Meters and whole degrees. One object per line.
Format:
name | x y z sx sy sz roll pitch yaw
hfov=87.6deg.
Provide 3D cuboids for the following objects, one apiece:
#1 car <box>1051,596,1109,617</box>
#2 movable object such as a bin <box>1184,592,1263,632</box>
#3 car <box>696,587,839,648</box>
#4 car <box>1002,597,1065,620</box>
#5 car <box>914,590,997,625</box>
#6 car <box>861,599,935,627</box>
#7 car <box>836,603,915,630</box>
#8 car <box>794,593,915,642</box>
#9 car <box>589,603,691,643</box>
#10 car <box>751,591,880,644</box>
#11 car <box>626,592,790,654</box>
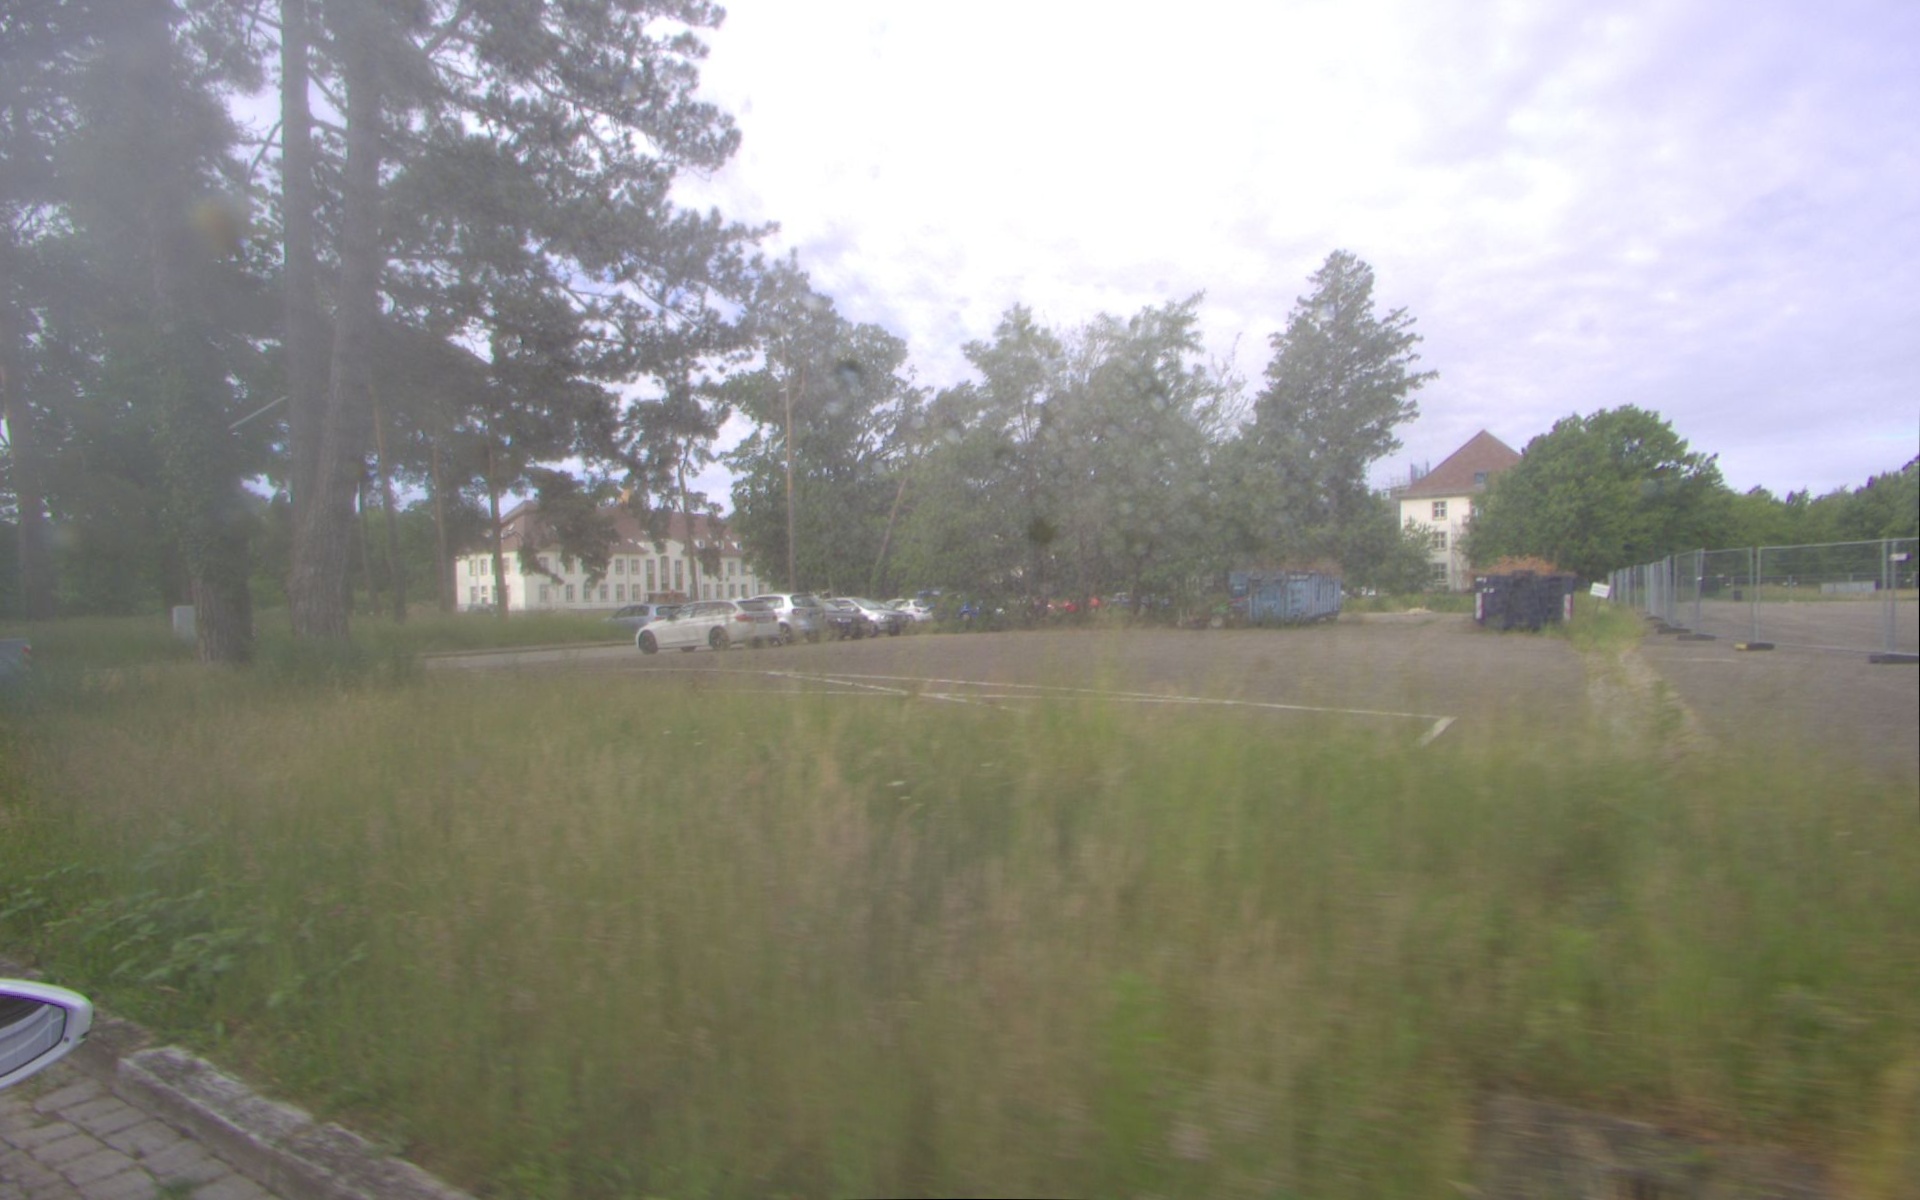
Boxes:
car | 9.242 0.487 77.256 4.183 1.541 1.730 -1 0 33
movable object such as a bin | 7.910 0.383 30.062 2.176 1.149 0.960 -1 -1 24
car | -6.001 0.561 31.137 4.181 1.626 1.779 -4 -1 29
car | 5.218 0.606 71.029 4.183 1.541 1.730 -1 0 33
car | -0.289 0.465 61.011 4.725 2.053 2.130 -1 0 34
car | -3.519 0.743 56.617 4.190 1.522 1.610 -1 0 38
car | -4.581 0.887 53.885 4.190 1.409 1.727 -1 0 38
car | -3.845 0.630 36.124 4.187 1.504 1.696 -4 -1 34
car | -13.095 0.923 40.939 4.184 1.529 1.729 -1 0 34
car | -4.875 0.604 33.534 4.187 1.504 1.696 -4 -1 34
car | -7.285 0.686 28.828 4.542 1.505 1.846 -4 -2 30
